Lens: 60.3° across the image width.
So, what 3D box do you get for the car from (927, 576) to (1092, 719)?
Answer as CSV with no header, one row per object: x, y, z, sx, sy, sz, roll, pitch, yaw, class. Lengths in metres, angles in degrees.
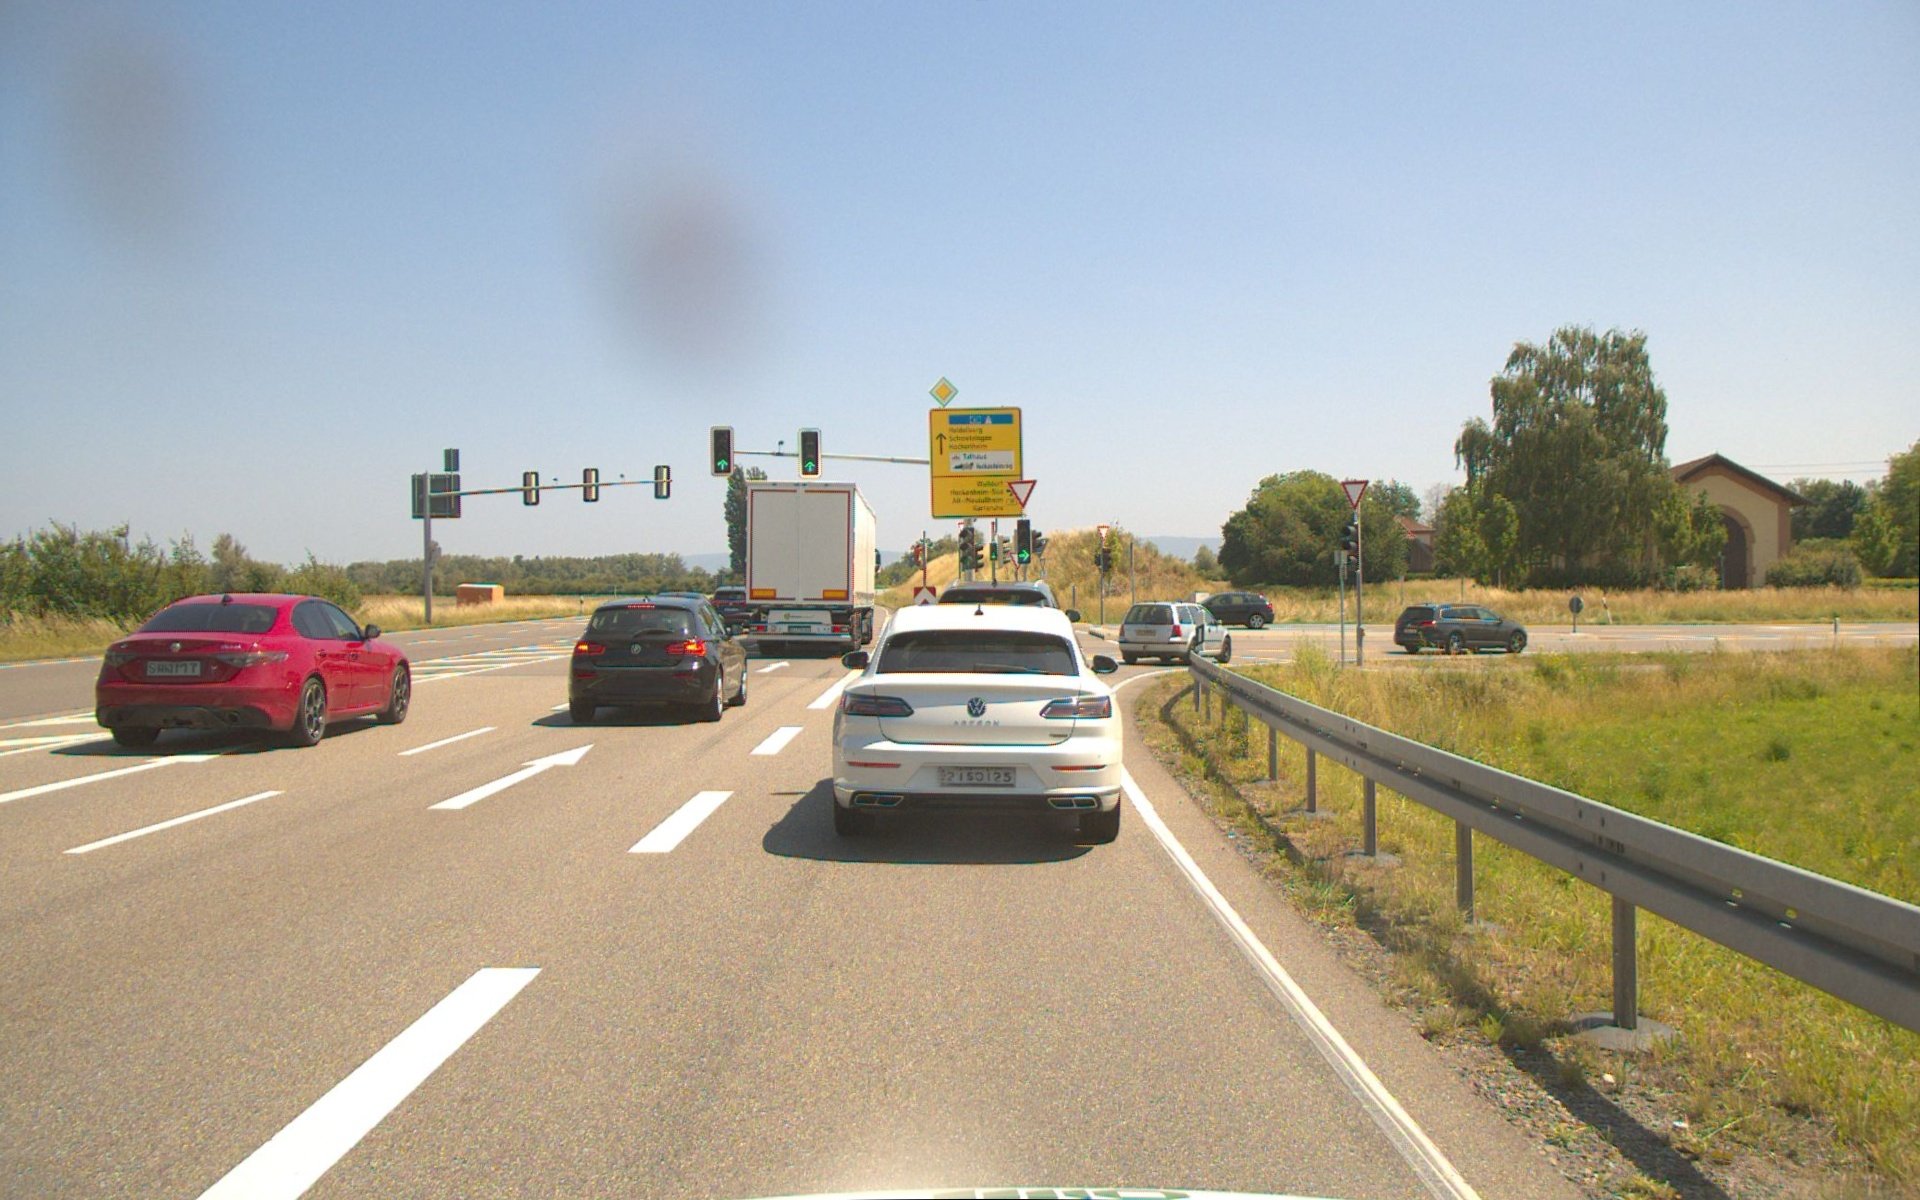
0.725,0.554,21.325,1.894,1.645,4.380,0,0,4,car

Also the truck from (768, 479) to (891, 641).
-3.867,-1.161,50.696,3.312,4.622,6.371,1,0,-1,truck

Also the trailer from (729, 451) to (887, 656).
-3.756,-1.075,44.183,3.313,4.622,12.867,1,0,-2,trailer

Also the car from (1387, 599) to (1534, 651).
15.045,0.748,49.648,4.355,1.502,1.787,0,0,-31,car

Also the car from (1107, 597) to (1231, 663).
4.983,0.682,38.994,1.764,1.454,4.090,0,0,25,car

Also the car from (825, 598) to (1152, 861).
0.131,0.728,11.513,1.810,1.458,4.607,0,0,-1,car

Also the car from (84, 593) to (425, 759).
-7.084,0.679,17.163,1.714,1.446,4.564,1,0,-2,car

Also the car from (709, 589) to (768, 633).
-7.969,0.384,59.758,1.773,1.519,4.019,1,0,-3,car

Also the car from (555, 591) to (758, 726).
-3.636,0.640,20.567,1.748,1.455,4.380,1,0,-1,car

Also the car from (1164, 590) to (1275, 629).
10.287,0.365,65.733,4.171,1.392,1.777,-1,1,2,car
